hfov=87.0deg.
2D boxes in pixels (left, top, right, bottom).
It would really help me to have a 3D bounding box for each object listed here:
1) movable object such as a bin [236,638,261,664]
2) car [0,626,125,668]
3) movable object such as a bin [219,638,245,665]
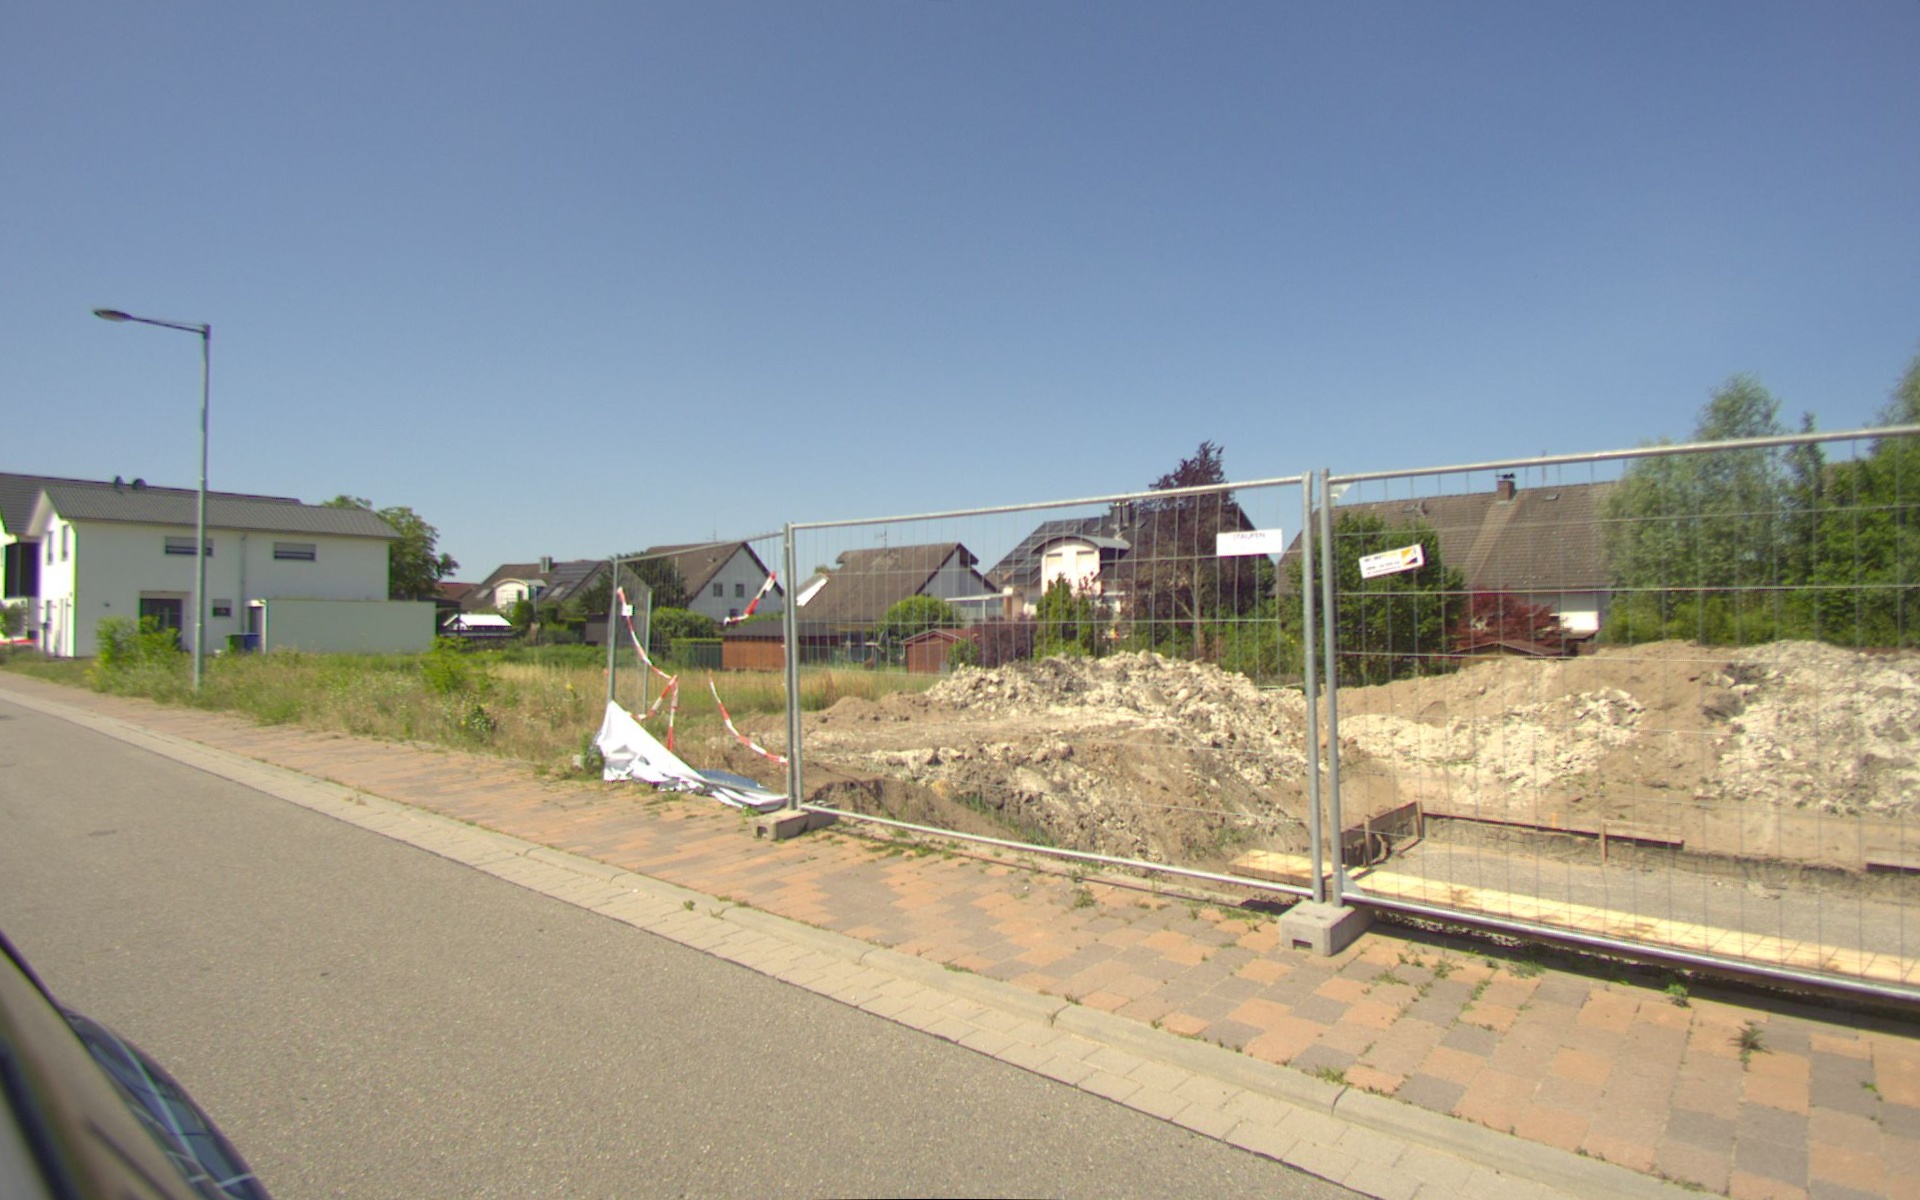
[{"bbox_3d":[-30.139,2.156,42.880,0.807,1.107,0.663,-2,-3,42],"label":"movable object such as a bin"},{"bbox_3d":[-42.769,2.188,47.868,1.936,1.889,4.691,-2,-3,38],"label":"car"},{"bbox_3d":[-30.443,2.142,42.325,0.784,1.107,0.653,-2,-3,40],"label":"movable object such as a bin"}]
